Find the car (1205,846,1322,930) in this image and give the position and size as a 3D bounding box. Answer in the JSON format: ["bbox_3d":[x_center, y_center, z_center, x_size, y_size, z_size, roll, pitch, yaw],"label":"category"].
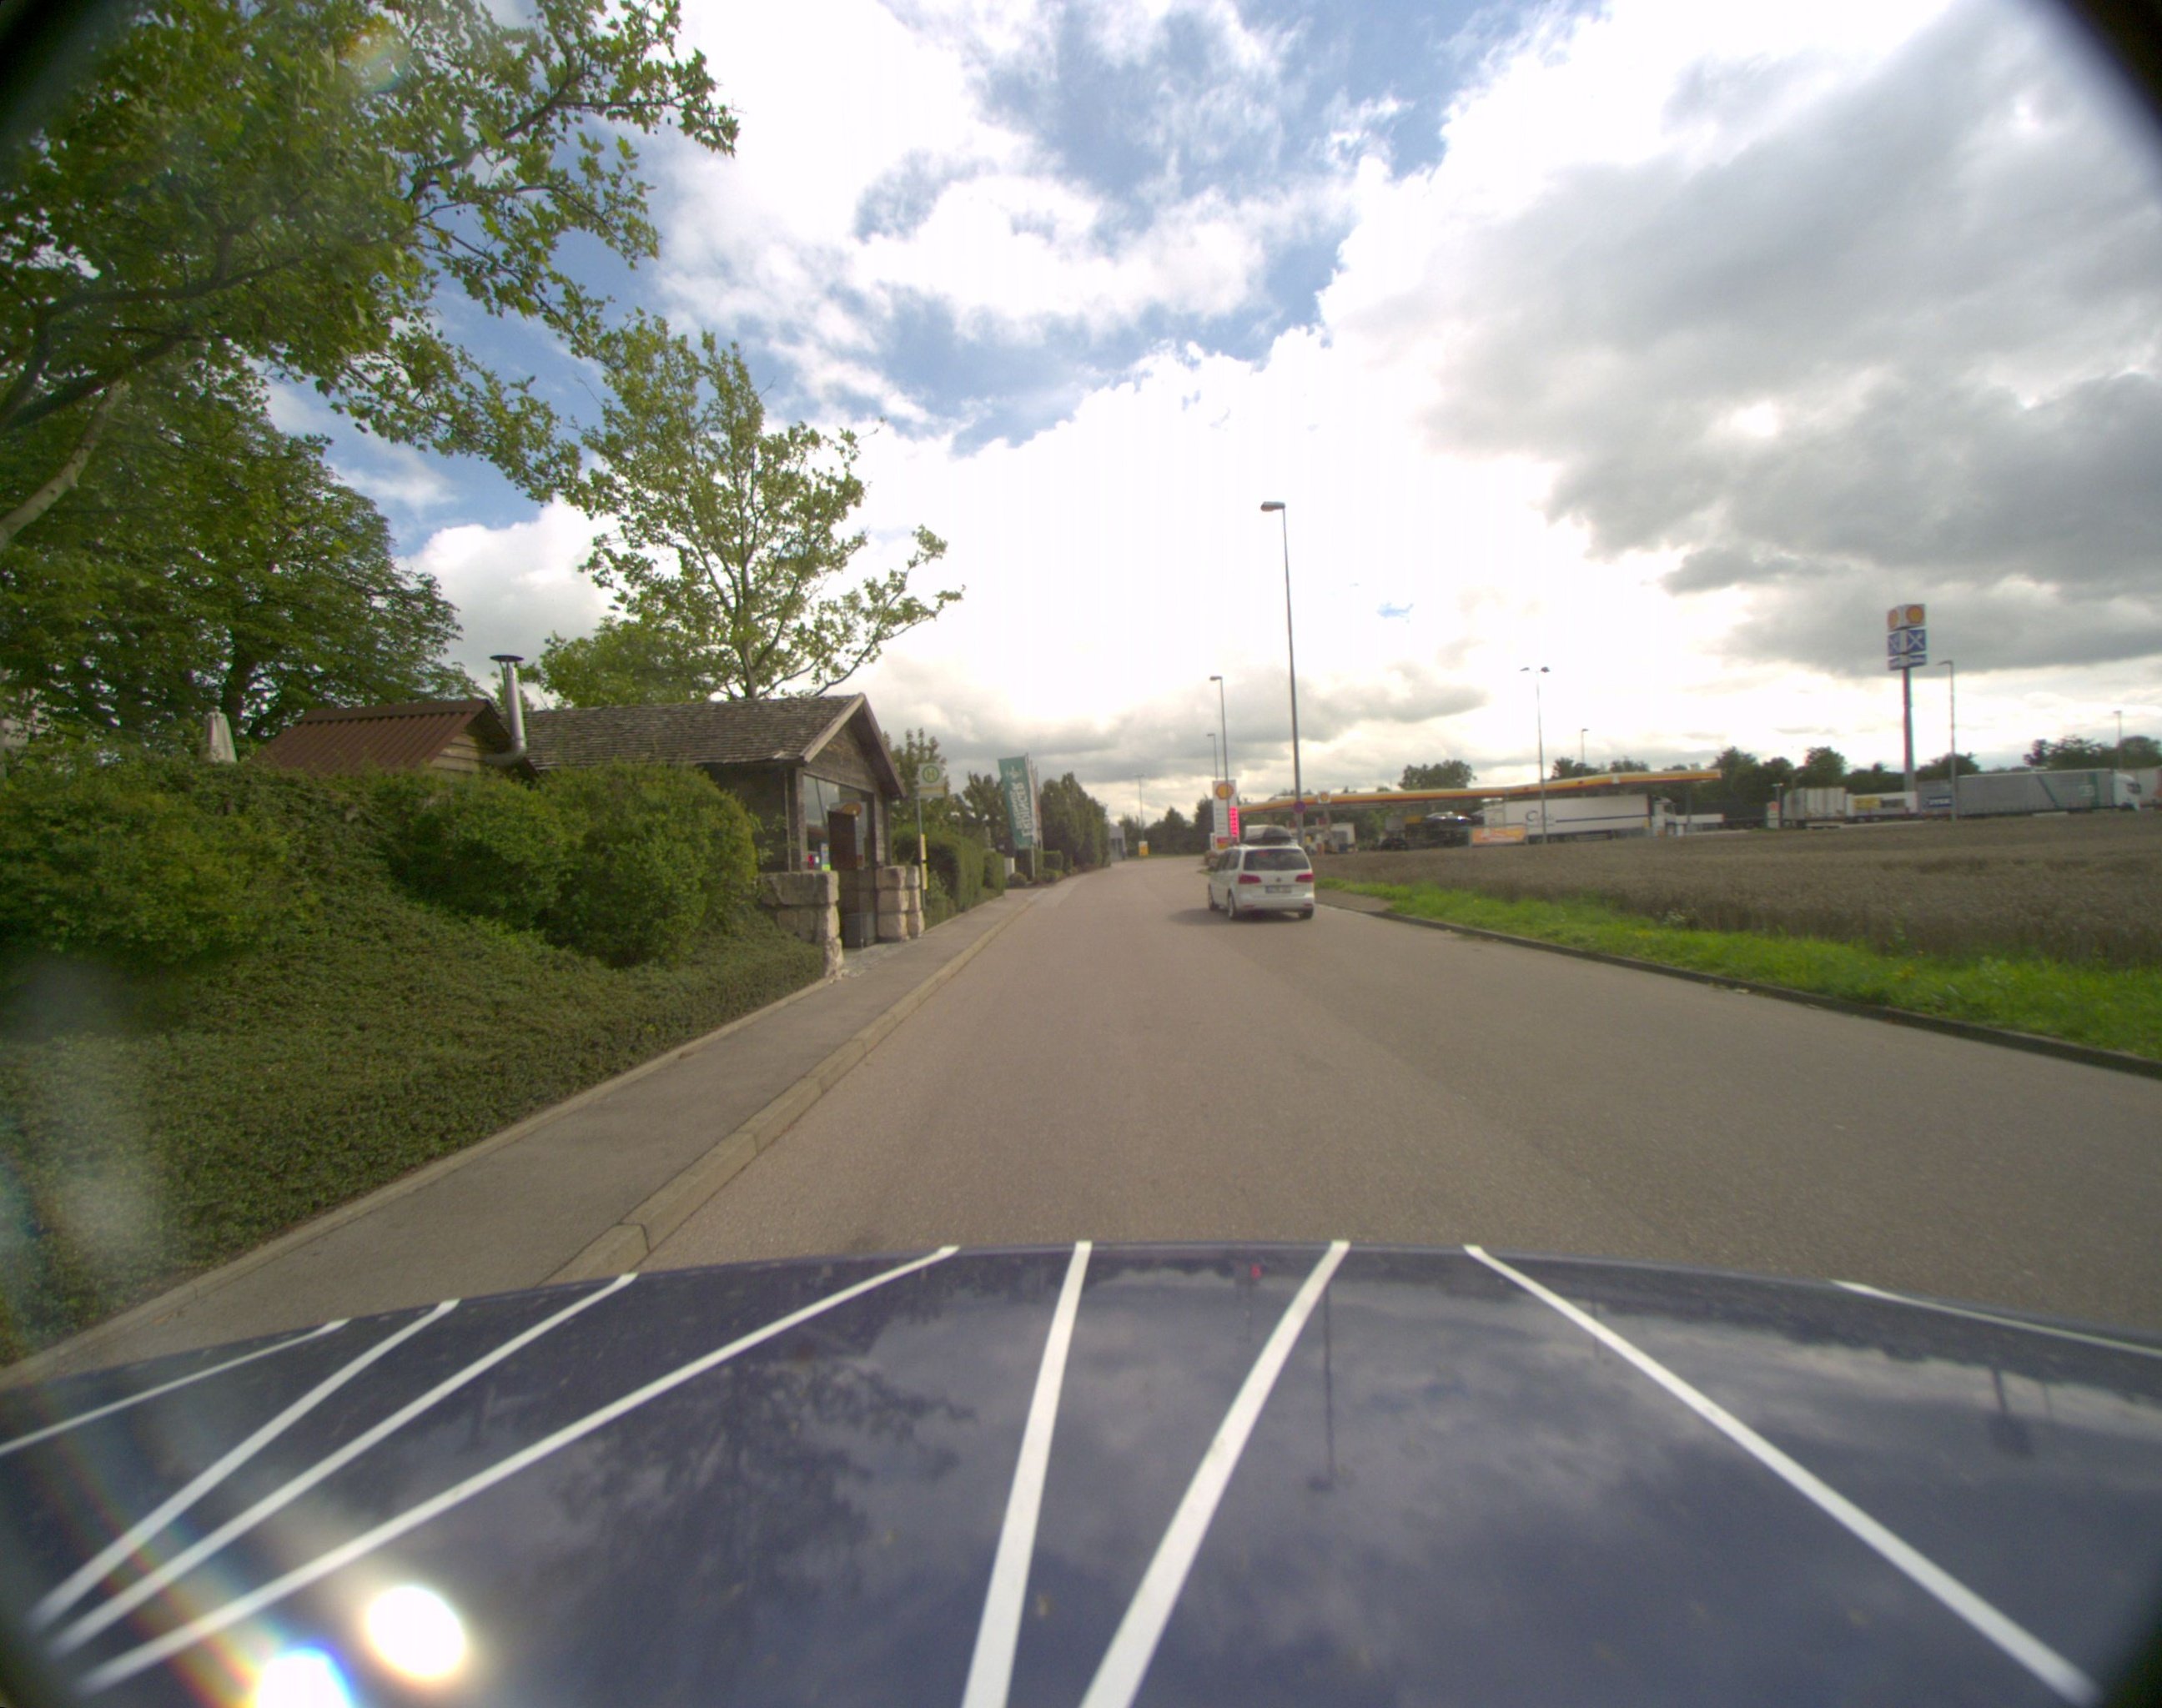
[{"bbox_3d":[4.059,0.678,17.532,1.703,1.655,4.032,-2,1,0],"label":"car"}]

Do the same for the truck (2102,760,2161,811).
[{"bbox_3d":[91.498,-5.871,62.063,15.461,3.871,2.821,-3,2,-9],"label":"truck"}]

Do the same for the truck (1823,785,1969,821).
[{"bbox_3d":[106.955,-6.645,100.151,12.774,3.871,2.829,-2,2,36],"label":"truck"}]

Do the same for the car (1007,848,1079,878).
[{"bbox_3d":[-2.493,0.563,50.196,4.357,1.706,1.658,-3,0,10],"label":"car"}]

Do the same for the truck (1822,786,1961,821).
[{"bbox_3d":[110.721,-6.853,104.207,12.774,3.871,2.829,-2,2,36],"label":"truck"}]

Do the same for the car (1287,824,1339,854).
[{"bbox_3d":[23.962,-1.568,78.423,5.818,2.770,2.219,-3,0,-40],"label":"car"}]

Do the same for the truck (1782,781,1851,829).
[{"bbox_3d":[70.890,-4.720,73.520,2.955,4.089,14.774,-2,2,37],"label":"truck"}]

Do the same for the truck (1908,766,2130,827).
[{"bbox_3d":[73.069,-4.471,59.259,15.457,3.871,2.822,-3,2,-6],"label":"truck"}]

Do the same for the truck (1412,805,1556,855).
[{"bbox_3d":[36.889,-2.201,69.435,13.265,3.901,2.748,-3,2,-16],"label":"truck"}]

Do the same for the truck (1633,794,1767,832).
[{"bbox_3d":[77.259,-5.029,95.346,12.774,3.871,2.829,-2,2,36],"label":"truck"}]

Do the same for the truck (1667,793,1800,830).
[{"bbox_3d":[84.373,-5.431,98.733,12.978,3.871,2.829,-2,2,38],"label":"truck"}]

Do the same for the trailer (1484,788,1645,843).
[{"bbox_3d":[41.348,-3.280,65.007,12.846,4.001,2.711,-3,1,-8],"label":"trailer"}]

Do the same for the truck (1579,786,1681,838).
[{"bbox_3d":[47.534,-3.635,65.914,7.168,4.001,2.711,-3,1,-8],"label":"truck"}]
